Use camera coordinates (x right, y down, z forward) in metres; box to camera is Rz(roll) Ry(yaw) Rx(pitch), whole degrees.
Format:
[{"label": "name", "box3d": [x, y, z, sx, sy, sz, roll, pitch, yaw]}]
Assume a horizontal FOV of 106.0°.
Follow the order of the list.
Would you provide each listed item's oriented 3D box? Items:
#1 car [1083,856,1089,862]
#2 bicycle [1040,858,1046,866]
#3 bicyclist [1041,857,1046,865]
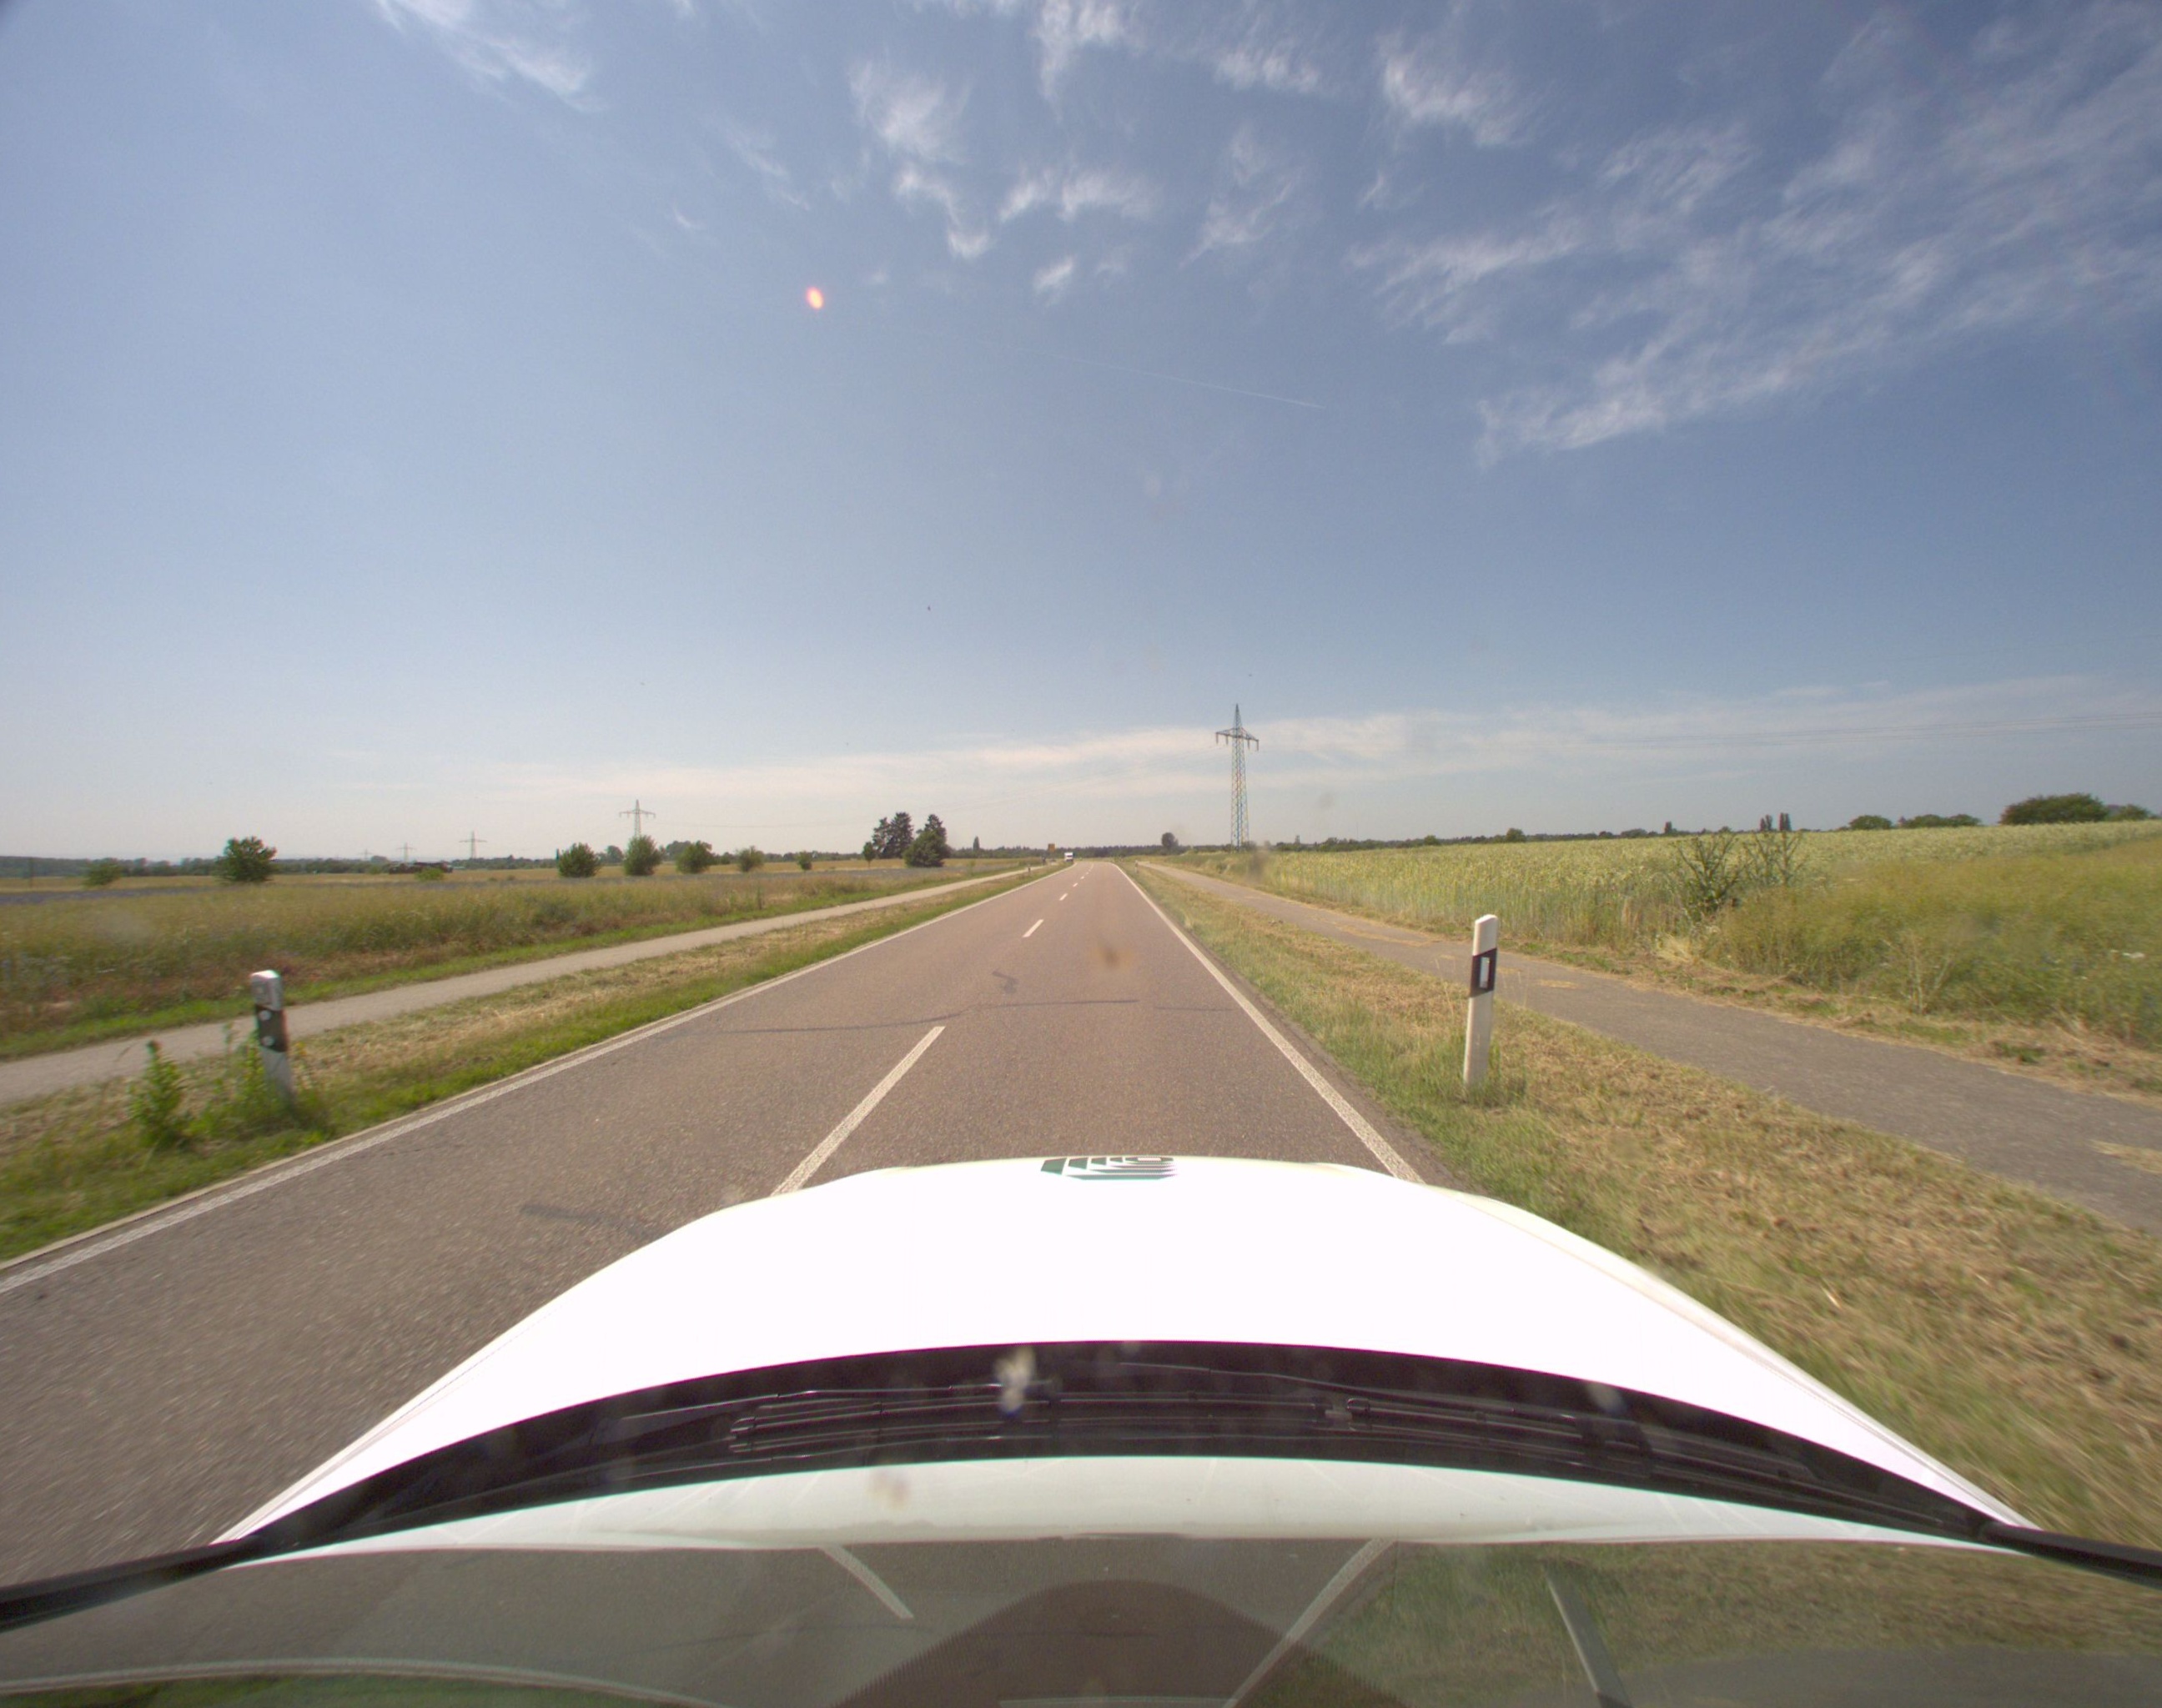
[{"label": "car", "box3d": [1.512, 1.548, 253.491, 1.618, 1.491, 3.999, -1, 1, 0]}, {"label": "bicycle", "box3d": [-6.206, 1.300, 133.784, 0.760, 1.229, 2.216, -2, 0, 1]}, {"label": "bicyclist", "box3d": [-6.222, 1.130, 133.520, 0.699, 1.331, 0.965, -2, 0, 1]}]
